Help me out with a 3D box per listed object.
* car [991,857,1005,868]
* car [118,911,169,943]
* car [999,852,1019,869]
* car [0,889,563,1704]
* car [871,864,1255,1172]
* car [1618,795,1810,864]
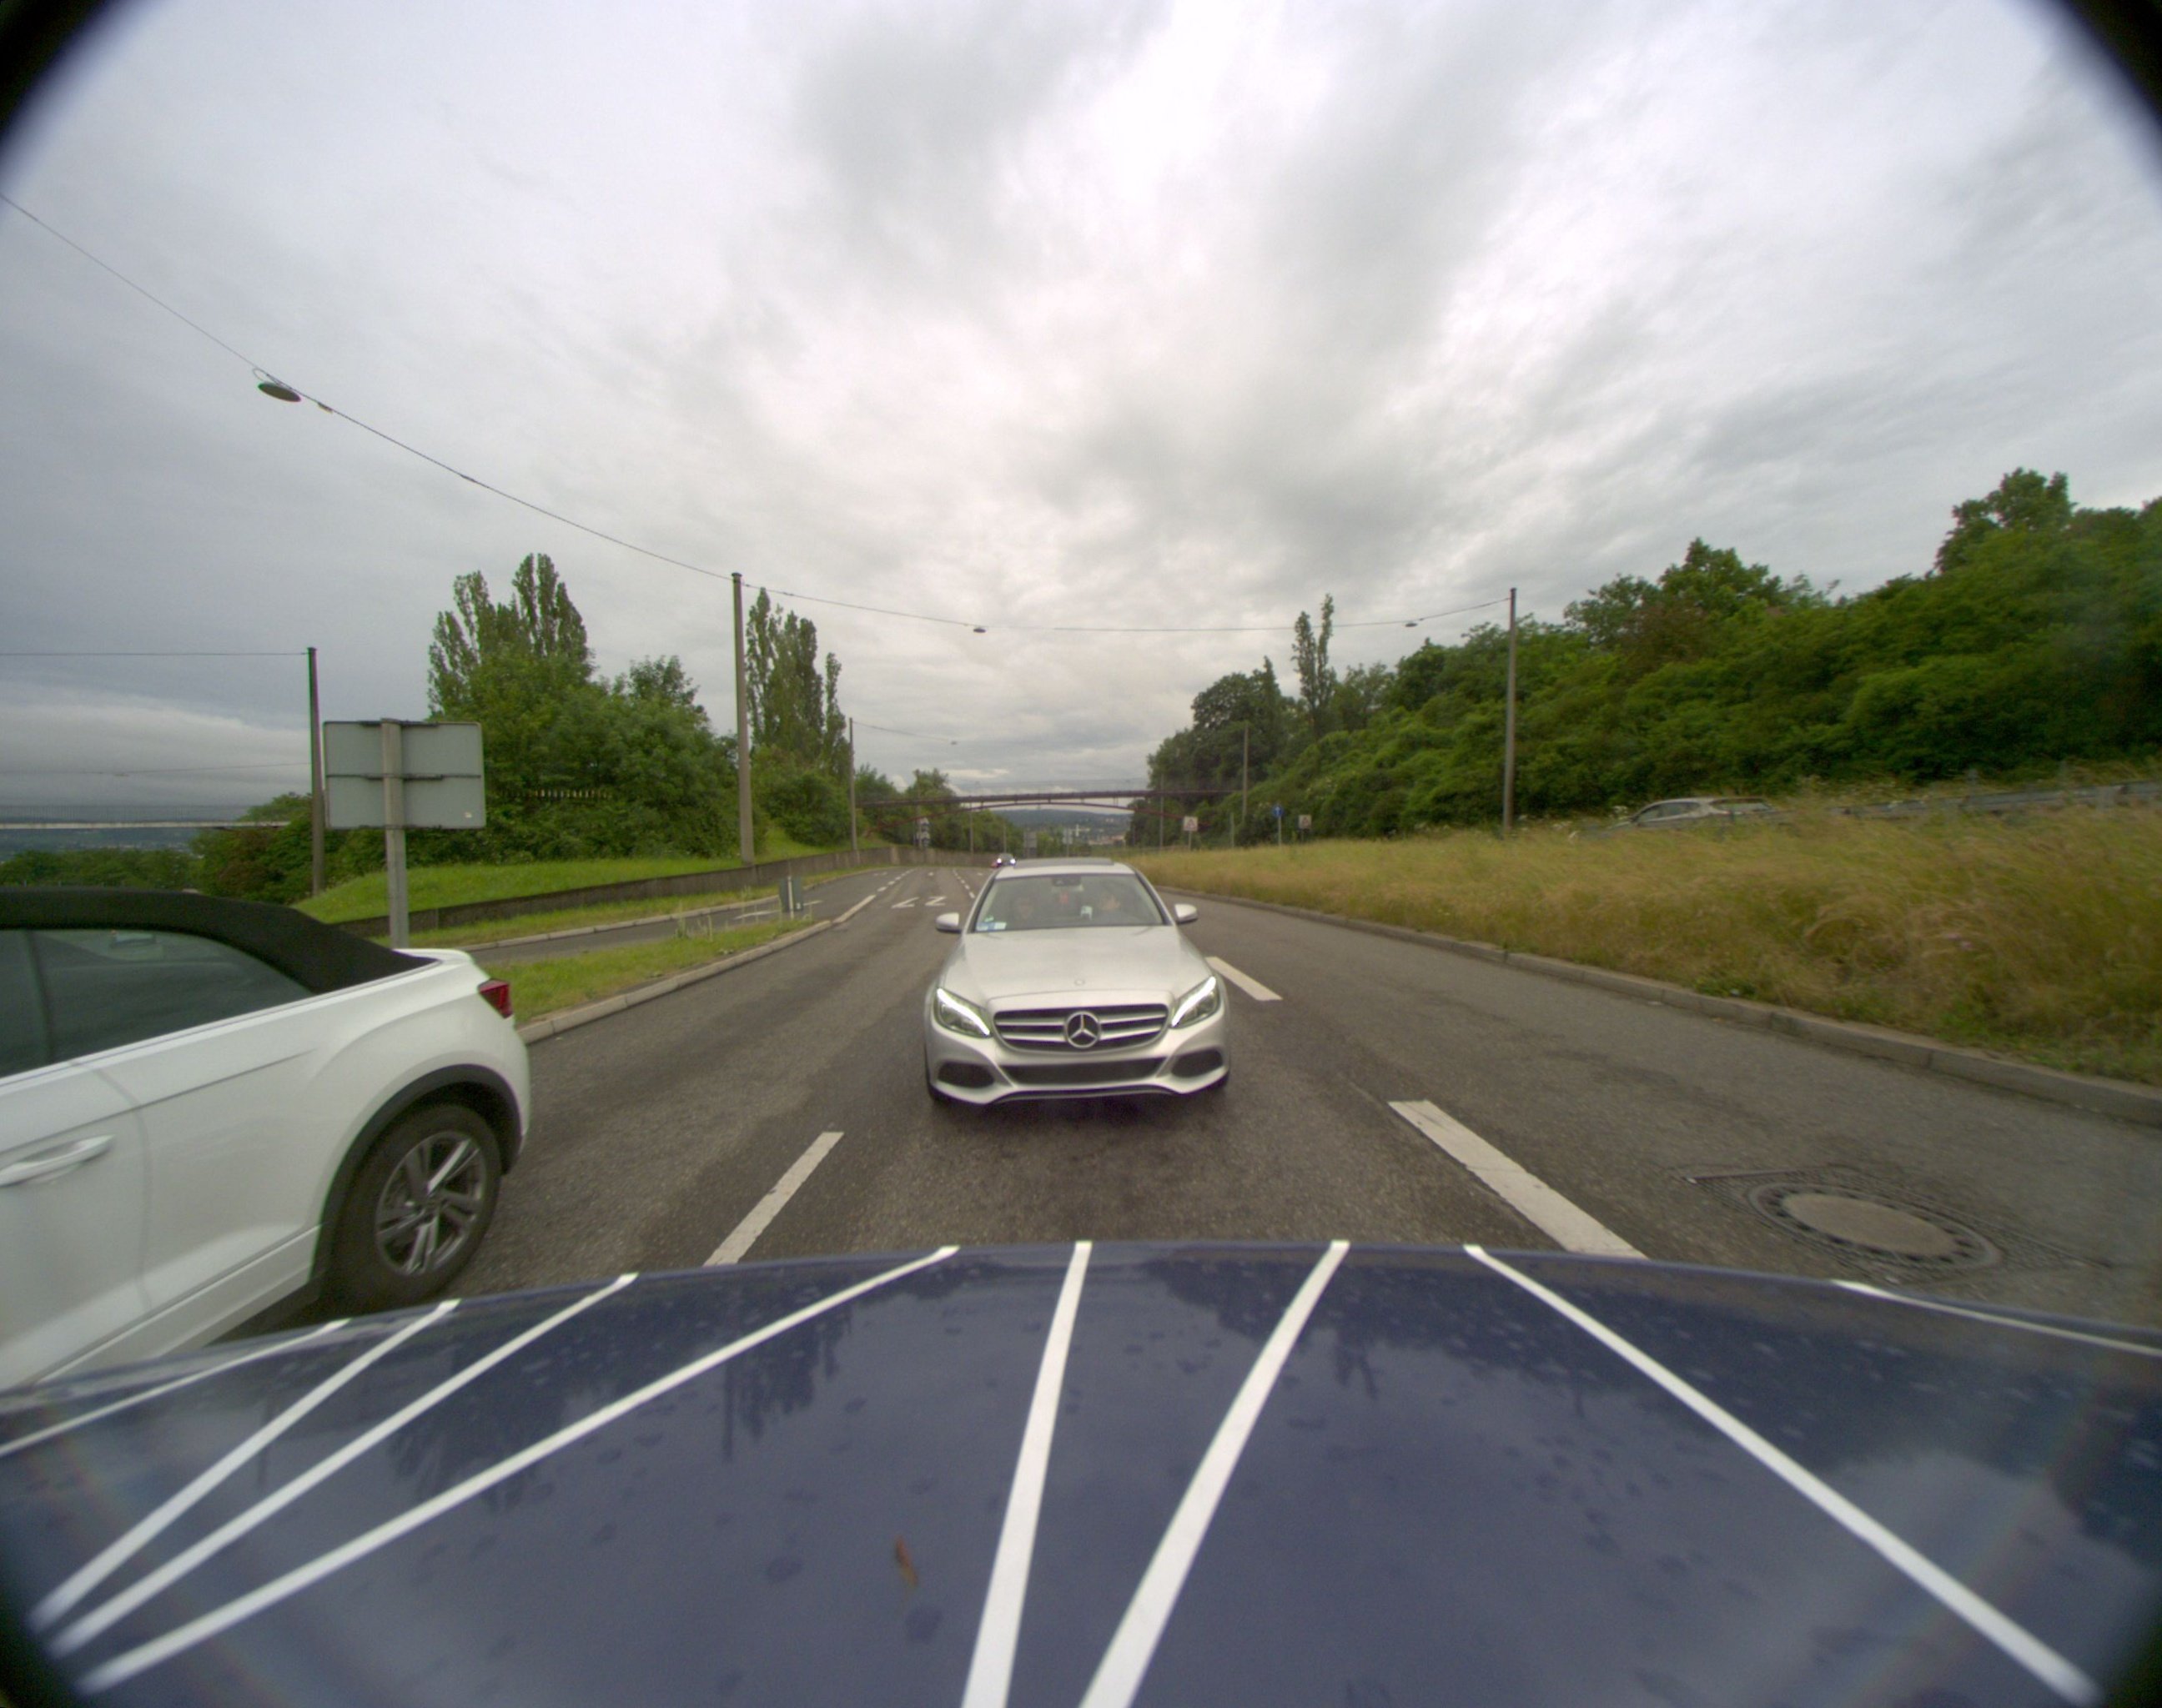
[{"bbox_3d":[-14.585,1.507,133.118,1.999,1.652,3.999,-4,0,-2],"label":"car"},{"bbox_3d":[-64.392,4.951,52.177,4.810,1.837,2.004,-2,1,38],"label":"car"},{"bbox_3d":[-7.661,0.702,80.823,1.912,1.668,3.998,-4,0,-5],"label":"car"},{"bbox_3d":[-3.082,1.004,1.161,1.718,1.544,4.227,-2,2,-2],"label":"car"},{"bbox_3d":[0.016,0.864,5.866,1.894,1.361,4.134,-1,2,3],"label":"car"},{"bbox_3d":[15.720,-0.570,19.148,1.740,1.508,3.677,2,0,0],"label":"car"}]
